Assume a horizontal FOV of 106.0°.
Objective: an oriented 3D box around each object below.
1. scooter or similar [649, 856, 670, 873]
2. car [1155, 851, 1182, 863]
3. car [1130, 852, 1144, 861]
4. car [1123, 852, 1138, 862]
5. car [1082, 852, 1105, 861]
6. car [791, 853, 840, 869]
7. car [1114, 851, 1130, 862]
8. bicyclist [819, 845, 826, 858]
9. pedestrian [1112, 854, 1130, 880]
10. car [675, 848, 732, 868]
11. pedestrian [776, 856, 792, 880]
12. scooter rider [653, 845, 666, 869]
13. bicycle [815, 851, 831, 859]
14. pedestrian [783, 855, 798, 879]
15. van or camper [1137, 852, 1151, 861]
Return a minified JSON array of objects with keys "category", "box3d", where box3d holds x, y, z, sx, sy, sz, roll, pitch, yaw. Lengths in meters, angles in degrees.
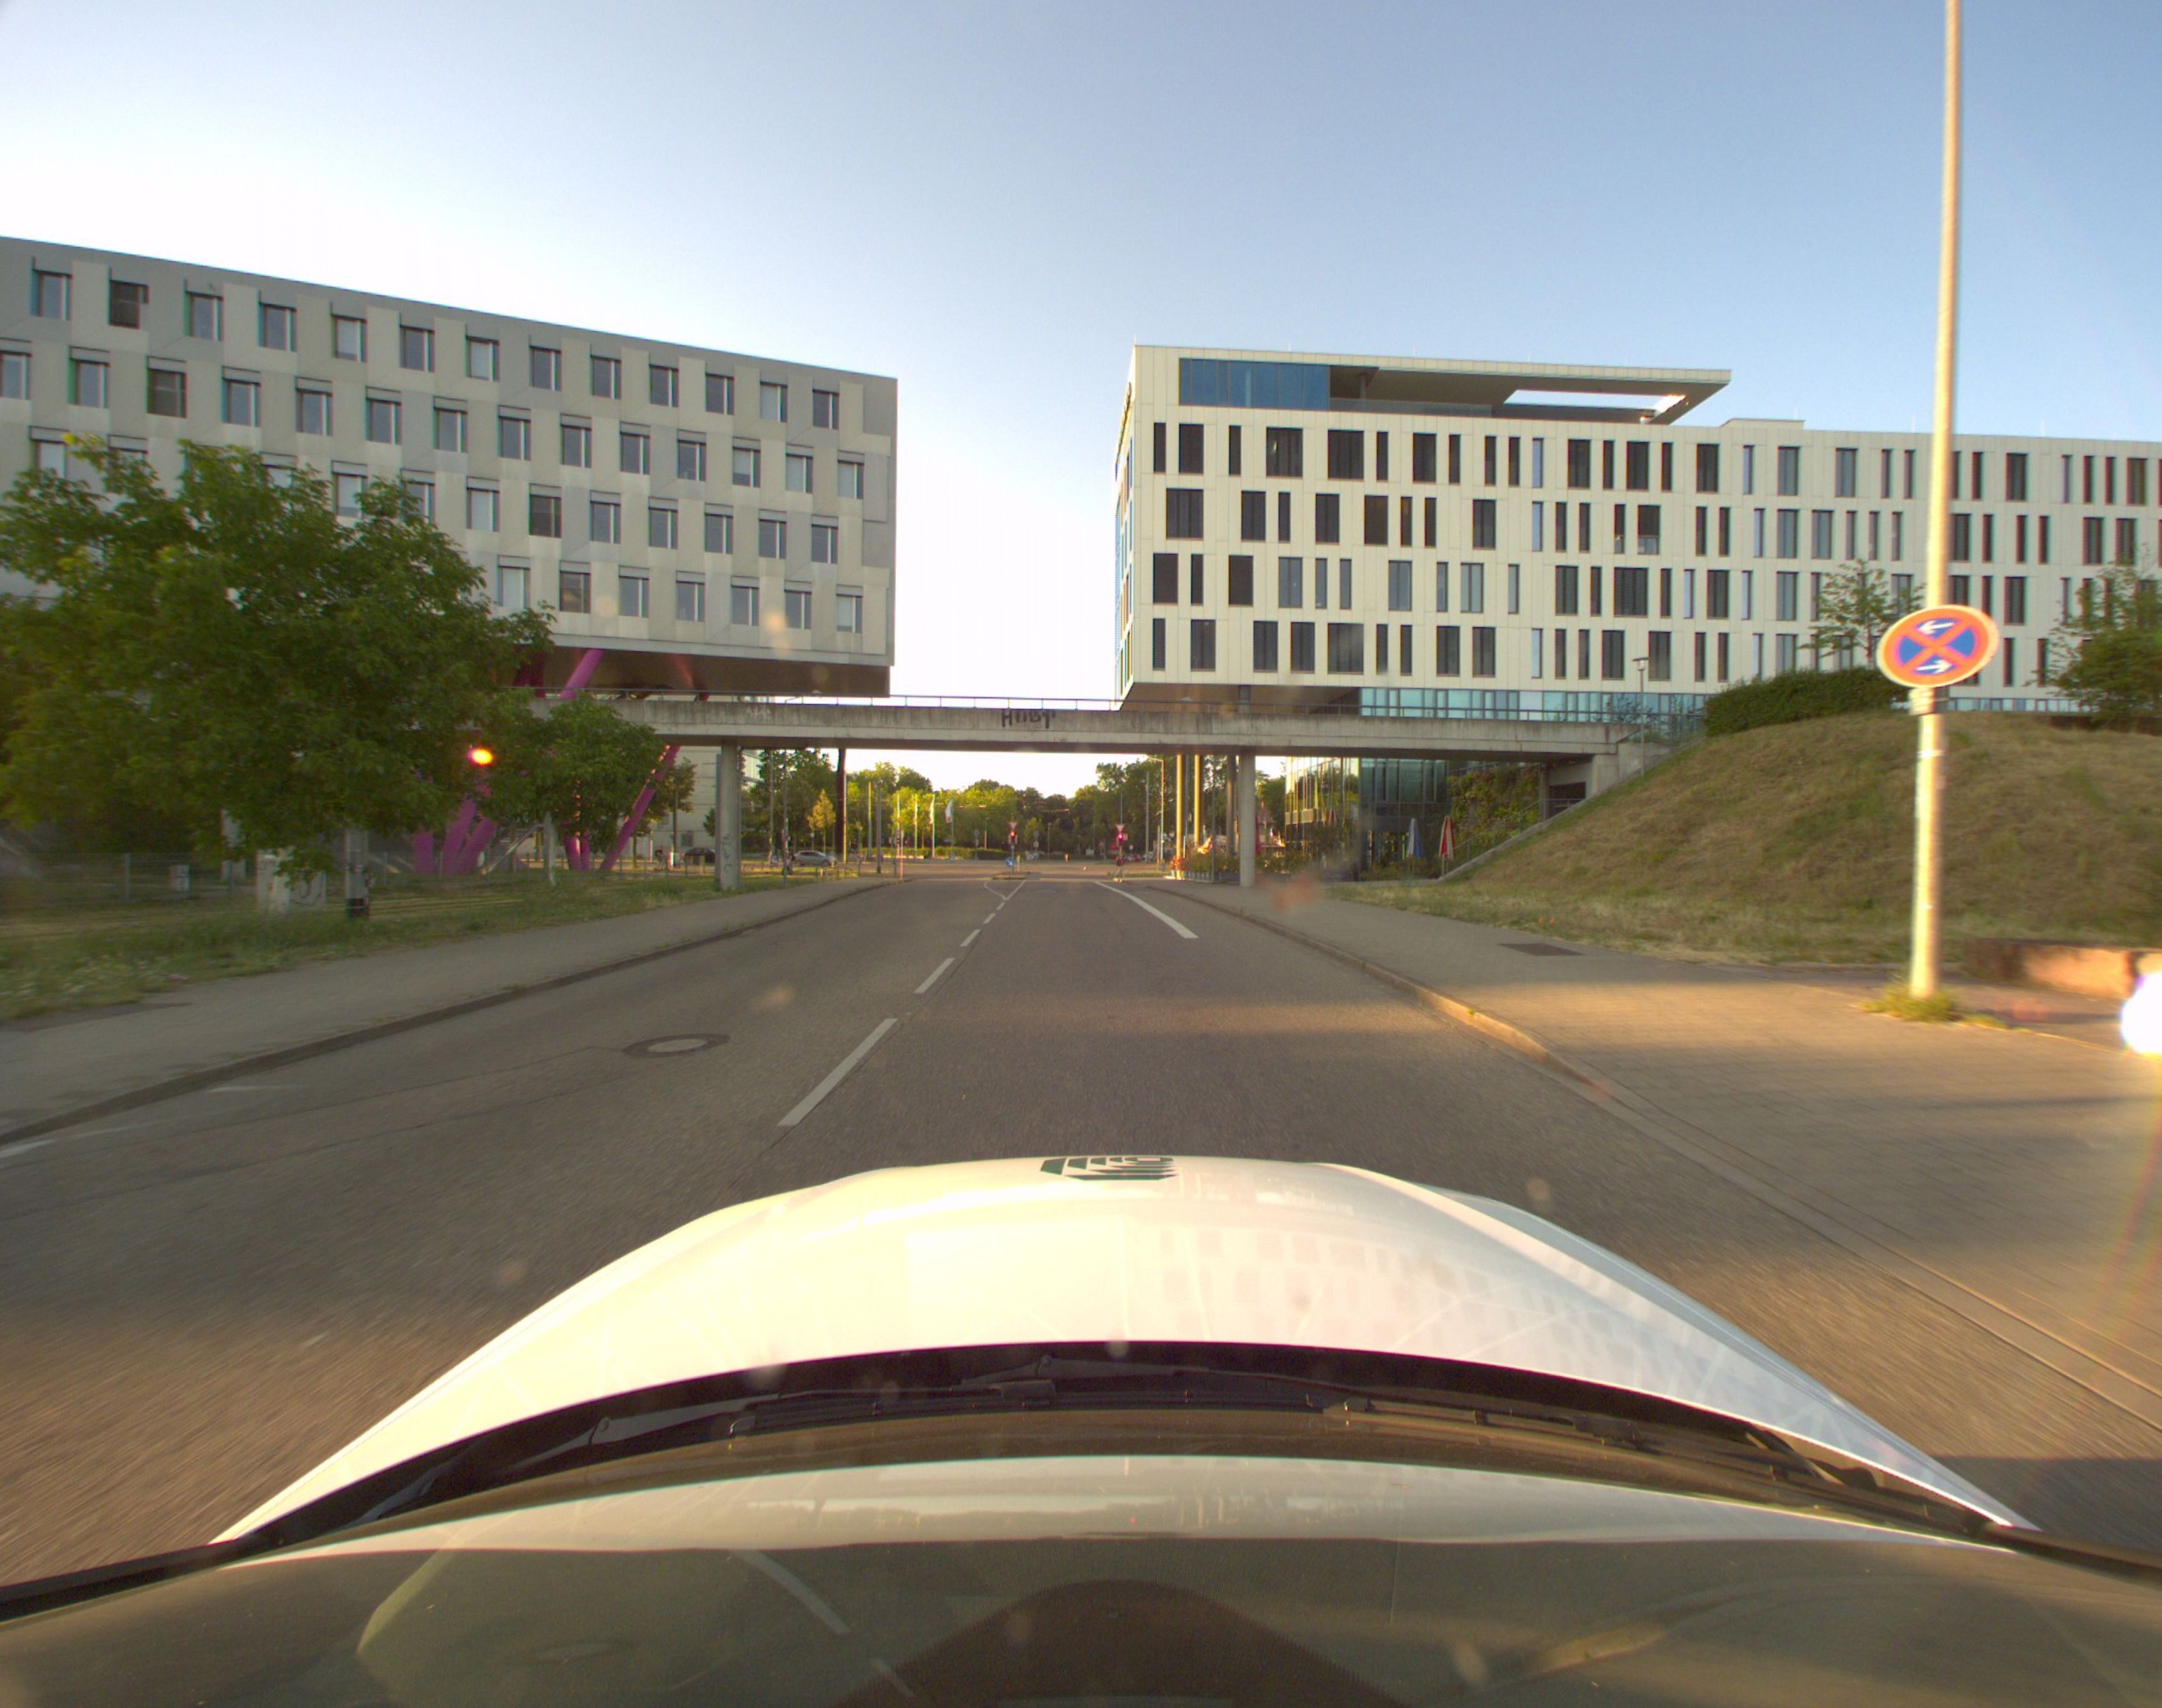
[{"category":"scooter or similar","box3d":[-30.580,0.784,59.117,1.212,1.200,0.502,0,1,-6]},{"category":"car","box3d":[14.379,0.507,134.222,4.448,1.816,1.947,0,1,3]},{"category":"car","box3d":[10.265,0.444,148.336,1.483,1.606,3.423,1,1,25]},{"category":"car","box3d":[8.841,0.512,144.884,1.483,1.606,3.423,1,1,25]},{"category":"car","box3d":[2.564,0.536,167.592,4.662,1.869,2.016,0,1,4]},{"category":"car","box3d":[-24.286,0.644,74.627,4.015,1.419,1.600,0,1,-5]},{"category":"car","box3d":[7.108,0.369,140.768,1.483,1.760,3.423,1,1,25]},{"category":"bicyclist","box3d":[-34.337,-0.310,108.223,0.761,1.723,0.547,0,1,-27]},{"category":"pedestrian","box3d":[2.849,0.912,57.653,1.055,1.833,0.891,0,1,-15]},{"category":"car","box3d":[-35.449,0.340,76.620,4.457,1.816,1.943,0,1,-4]},{"category":"pedestrian","box3d":[-20.461,0.936,56.104,0.681,1.624,0.715,1,1,15]},{"category":"scooter rider","box3d":[-30.589,0.218,59.117,0.705,1.782,0.442,0,1,-6]},{"category":"bicycle","box3d":[-34.305,0.121,108.266,1.973,1.128,0.555,0,1,-28]},{"category":"pedestrian","box3d":[-20.253,0.919,56.834,0.695,1.664,0.715,1,1,15]},{"category":"van or camper","box3d":[13.609,0.561,176.855,1.609,1.982,3.830,1,1,28]}]
